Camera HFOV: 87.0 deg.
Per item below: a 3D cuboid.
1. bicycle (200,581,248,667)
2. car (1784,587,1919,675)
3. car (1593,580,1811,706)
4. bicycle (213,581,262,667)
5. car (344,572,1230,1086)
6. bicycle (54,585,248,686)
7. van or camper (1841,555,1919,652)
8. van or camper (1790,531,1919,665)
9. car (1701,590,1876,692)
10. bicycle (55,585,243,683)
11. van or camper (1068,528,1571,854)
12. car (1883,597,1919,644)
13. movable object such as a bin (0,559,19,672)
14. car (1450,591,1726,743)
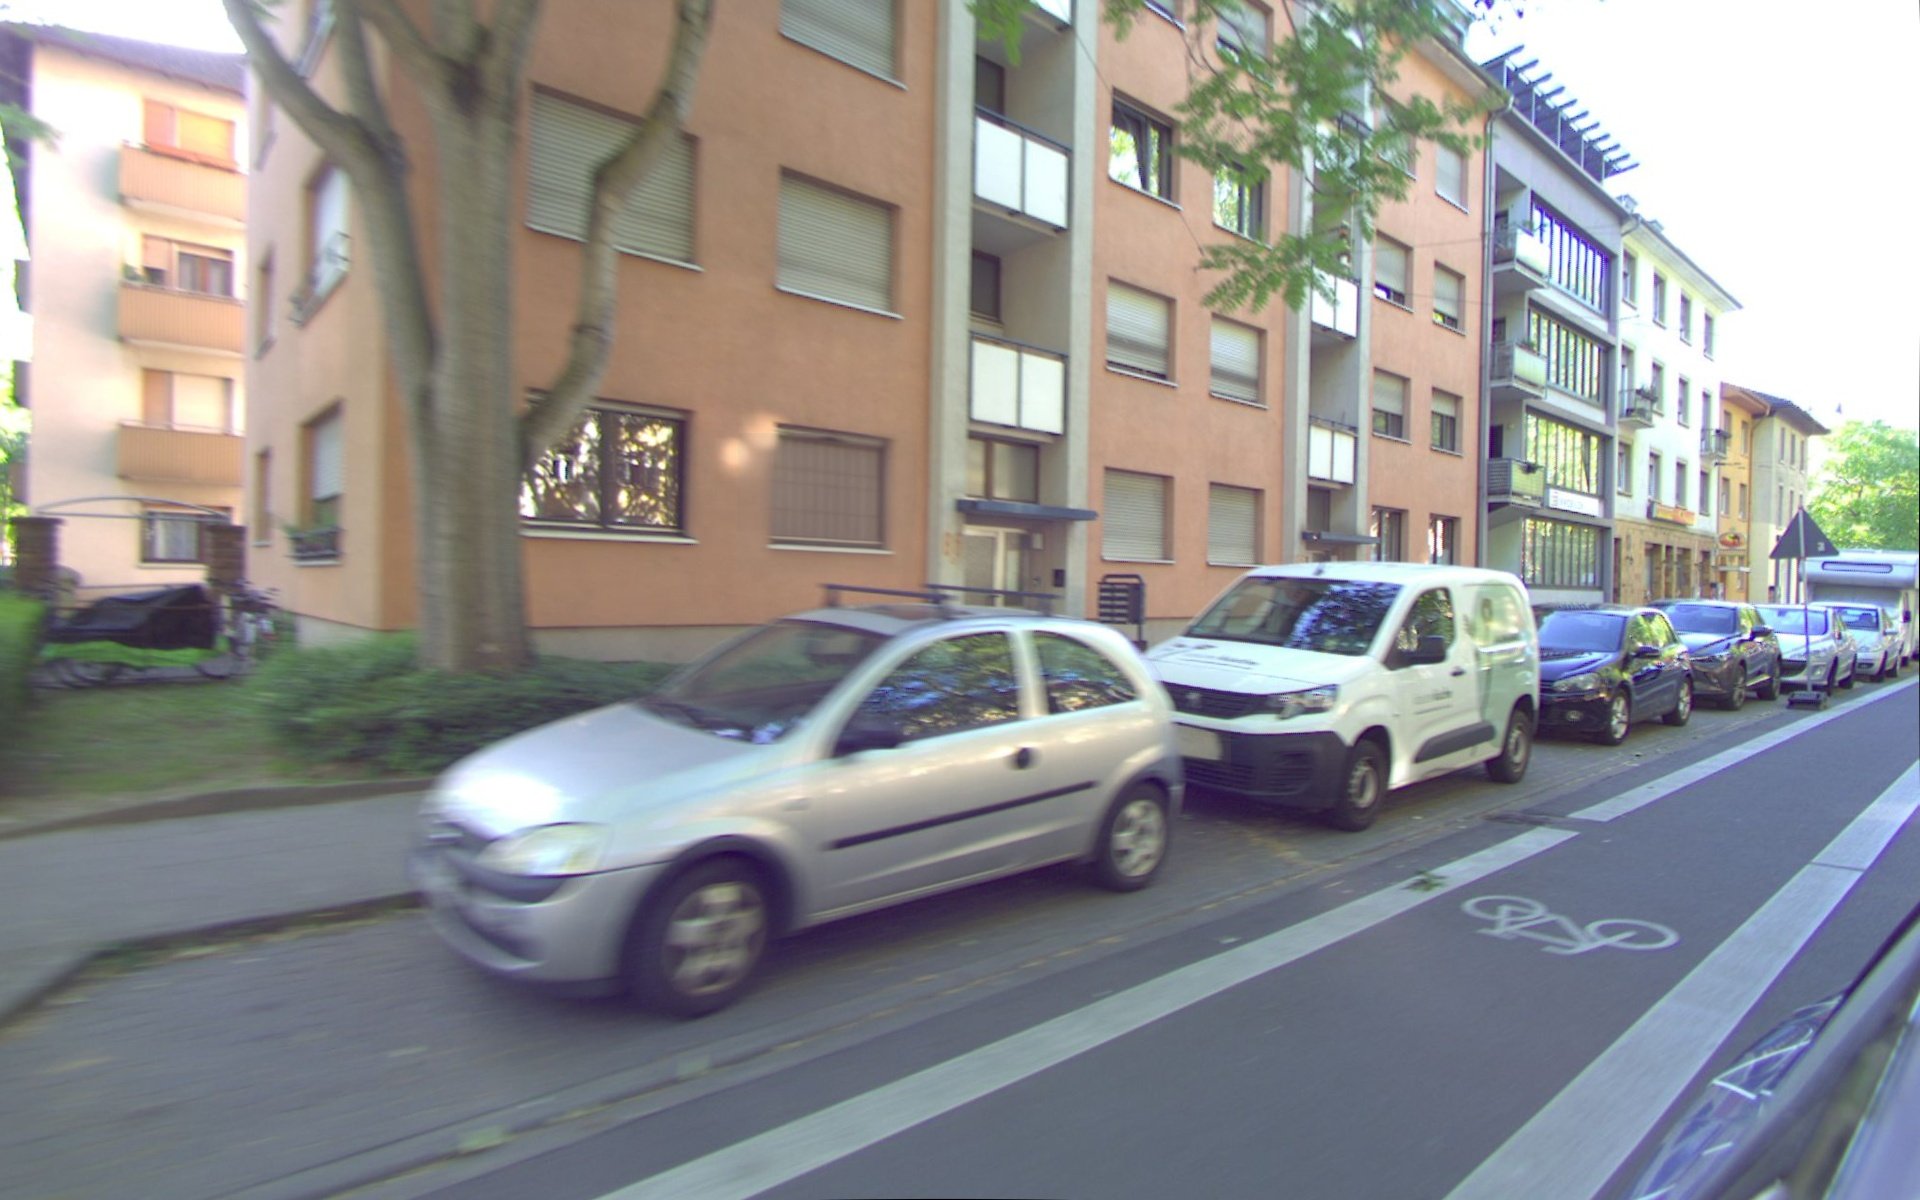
[{"bbox_3d":[-10.712,0.324,14.704,0.442,1.184,1.773,0,0,-40],"label":"bicycle"},{"bbox_3d":[19.419,0.599,21.874,4.202,1.648,1.796,0,3,-42],"label":"car"},{"bbox_3d":[11.401,0.552,15.438,4.262,1.591,1.771,0,3,-42],"label":"car"},{"bbox_3d":[-10.585,0.325,14.814,0.442,1.179,1.773,0,0,-40],"label":"bicycle"},{"bbox_3d":[-0.557,0.656,4.916,3.930,1.491,1.708,0,1,-41],"label":"car"},{"bbox_3d":[-9.429,0.381,11.848,1.744,1.113,0.513,-1,0,-41],"label":"bicycle"},{"bbox_3d":[28.518,0.074,30.600,4.893,2.695,2.136,0,3,-42],"label":"van or camper"},{"bbox_3d":[23.799,-0.107,26.321,6.161,3.101,2.466,0,3,-43],"label":"van or camper"},{"bbox_3d":[14.929,0.646,18.155,4.249,1.540,1.791,0,3,-43],"label":"car"},{"bbox_3d":[-9.787,0.378,12.268,1.744,1.113,0.513,-1,0,-41],"label":"bicycle"},{"bbox_3d":[3.113,0.501,8.107,4.748,1.887,1.757,0,1,-42],"label":"van or camper"},{"bbox_3d":[33.595,0.703,34.907,4.656,1.512,1.998,0,3,-41],"label":"car"},{"bbox_3d":[-13.383,0.187,13.364,1.355,1.436,2.542,-2,3,-43],"label":"movable object such as a bin"},{"bbox_3d":[7.679,0.671,12.217,4.095,1.491,1.708,0,1,-41],"label":"car"}]
